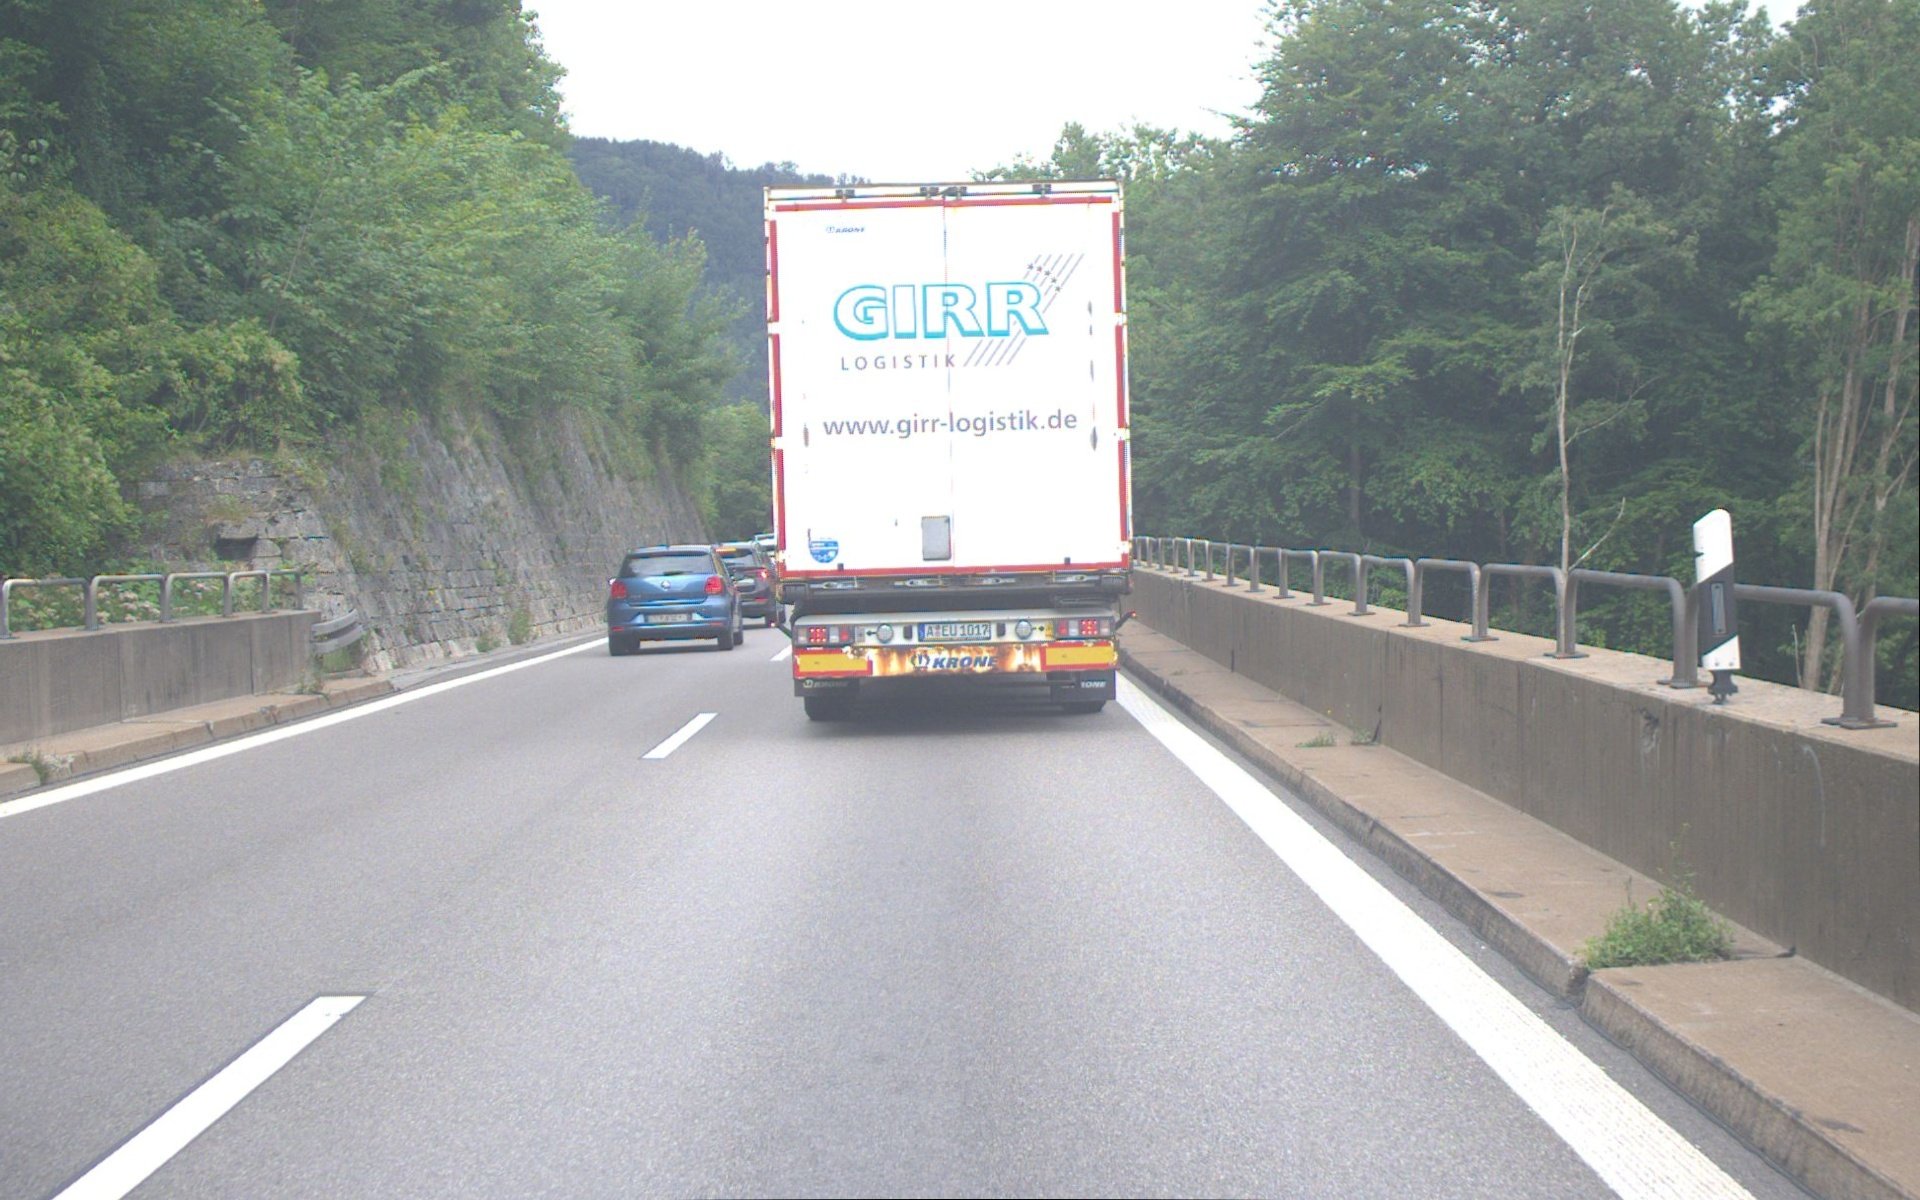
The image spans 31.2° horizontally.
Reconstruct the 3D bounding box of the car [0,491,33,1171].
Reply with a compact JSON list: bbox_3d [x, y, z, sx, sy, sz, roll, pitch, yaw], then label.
[{"bbox_3d":[-3.292,0.578,5.904,1.993,1.626,5.008,1,1,0],"label":"car"}]

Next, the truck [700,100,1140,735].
[{"bbox_3d":[-0.357,-1.424,31.732,3.084,4.448,15.156,0,1,-1],"label":"truck"}]

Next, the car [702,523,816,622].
[{"bbox_3d":[-3.360,-0.461,58.002,1.745,1.581,4.000,1,0,-1],"label":"car"}]

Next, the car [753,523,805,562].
[{"bbox_3d":[-7.701,-2.419,146.022,1.745,1.581,4.001,1,0,-10],"label":"car"}]

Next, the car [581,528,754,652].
[{"bbox_3d":[-3.932,-0.170,46.898,1.993,1.590,4.354,1,1,0],"label":"car"}]

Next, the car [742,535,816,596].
[{"bbox_3d":[-4.475,-0.885,85.437,1.745,1.481,4.000,0,1,-1],"label":"car"}]
